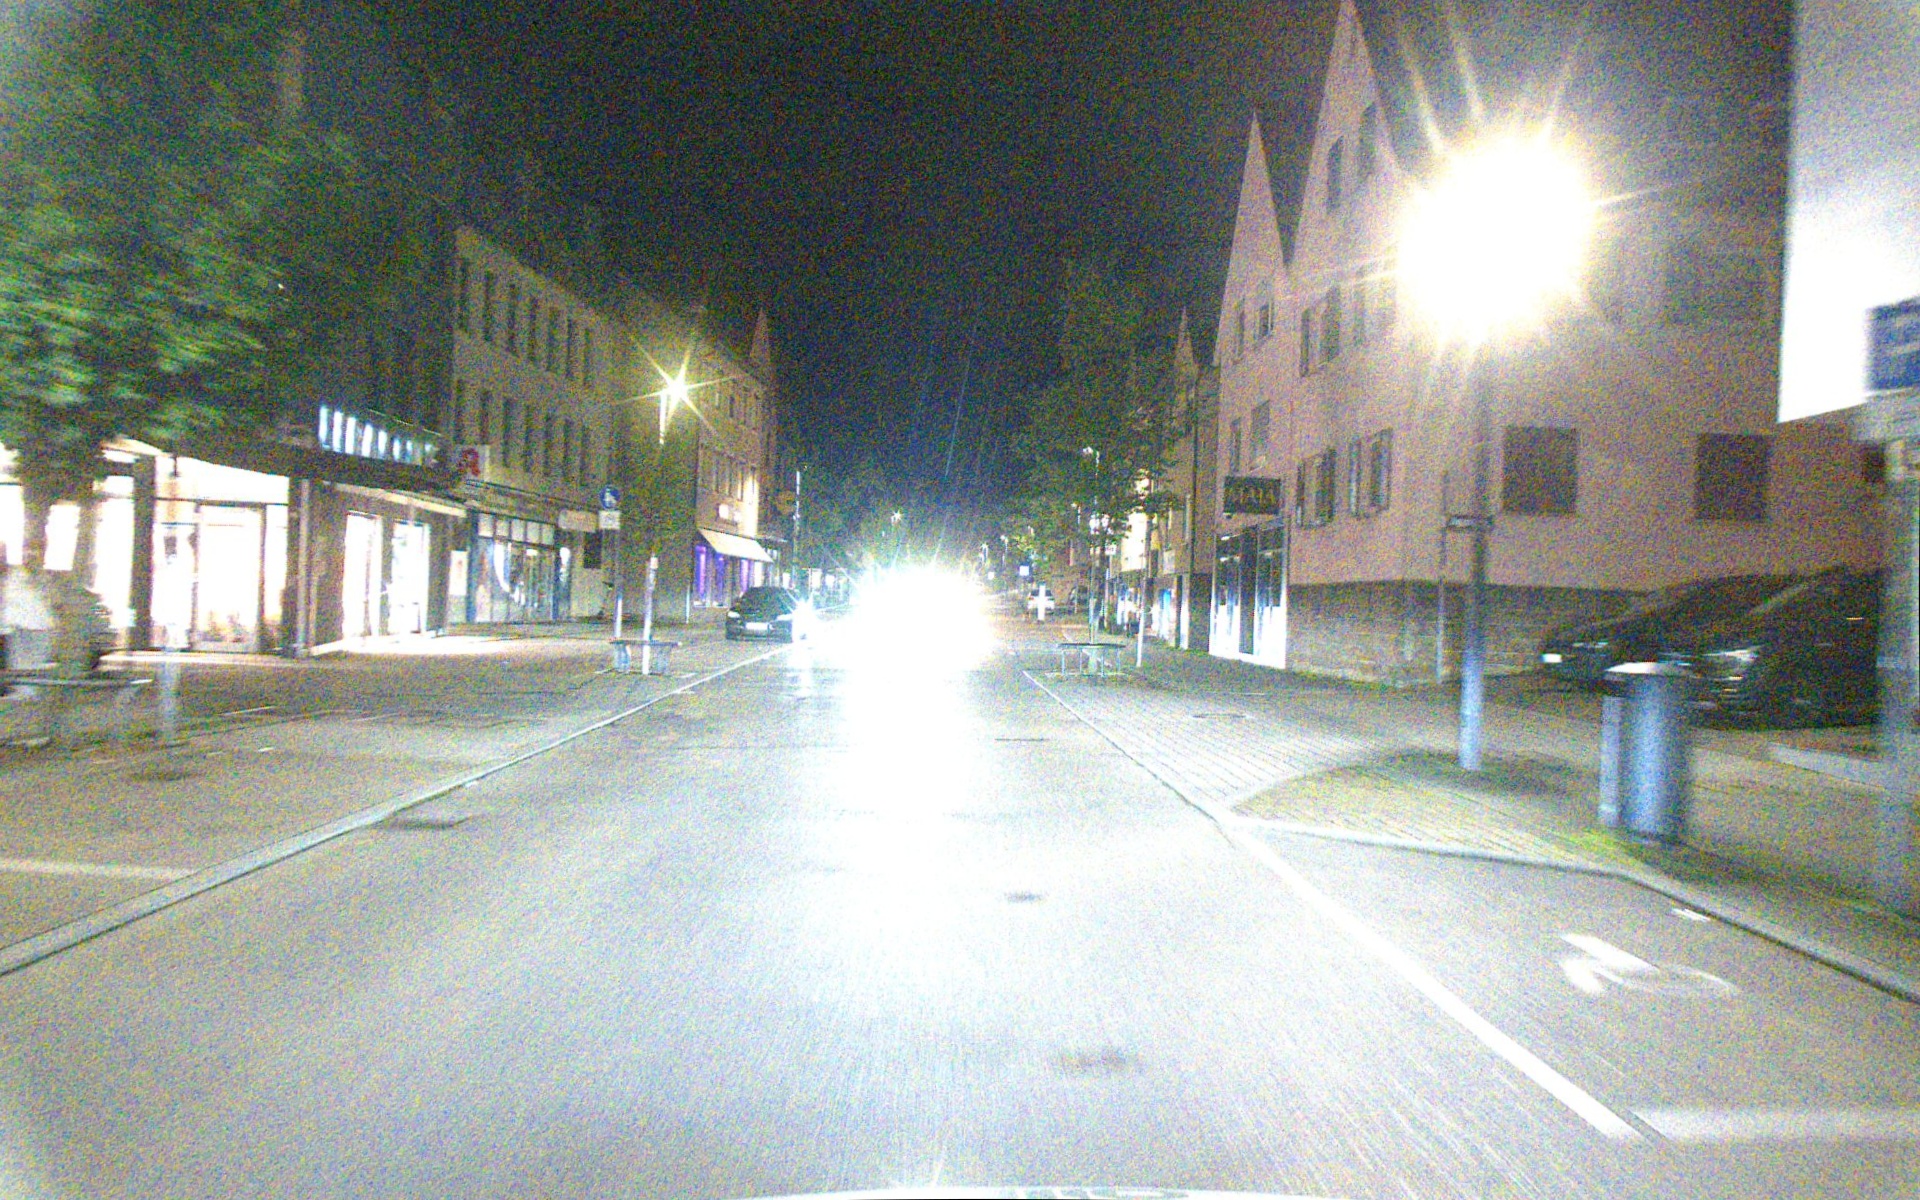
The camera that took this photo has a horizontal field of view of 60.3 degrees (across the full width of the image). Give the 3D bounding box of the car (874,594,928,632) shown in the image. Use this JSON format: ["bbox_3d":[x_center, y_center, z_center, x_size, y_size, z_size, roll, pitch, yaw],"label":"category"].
[{"bbox_3d":[-2.070,0.452,59.129,1.688,1.268,4.237,1,0,1],"label":"car"}]

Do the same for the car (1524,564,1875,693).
[{"bbox_3d":[9.879,0.372,22.286,3.908,1.502,1.751,-3,-1,-3],"label":"car"}]

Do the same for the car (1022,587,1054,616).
[{"bbox_3d":[4.674,0.093,99.119,1.739,1.681,4.364,1,0,1],"label":"car"}]

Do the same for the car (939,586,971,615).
[{"bbox_3d":[-0.251,0.017,99.392,1.738,1.681,4.365,1,0,2],"label":"car"}]

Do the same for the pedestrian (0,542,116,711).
[{"bbox_3d":[-9.240,0.257,16.965,0.753,1.685,0.782,1,1,0],"label":"pedestrian"}]

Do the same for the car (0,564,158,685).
[{"bbox_3d":[-12.922,0.352,21.490,4.080,1.463,1.841,-2,0,3],"label":"car"}]

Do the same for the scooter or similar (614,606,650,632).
[{"bbox_3d":[-10.562,0.617,53.268,1.073,0.795,0.524,1,0,-3],"label":"scooter or similar"}]

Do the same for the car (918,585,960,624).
[{"bbox_3d":[-0.900,0.186,74.712,1.739,1.681,4.364,1,0,1],"label":"car"}]

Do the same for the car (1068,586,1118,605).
[{"bbox_3d":[10.660,-0.378,132.308,3.903,1.441,2.001,1,-2,5],"label":"car"}]

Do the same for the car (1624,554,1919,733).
[{"bbox_3d":[9.300,0.383,17.224,3.996,1.609,1.815,-3,1,-4],"label":"car"}]

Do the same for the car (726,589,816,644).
[{"bbox_3d":[-5.131,0.416,45.505,1.875,1.394,4.458,1,1,1],"label":"car"}]

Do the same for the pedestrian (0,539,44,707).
[{"bbox_3d":[-10.004,0.212,16.956,0.753,1.685,0.817,1,1,0],"label":"pedestrian"}]
